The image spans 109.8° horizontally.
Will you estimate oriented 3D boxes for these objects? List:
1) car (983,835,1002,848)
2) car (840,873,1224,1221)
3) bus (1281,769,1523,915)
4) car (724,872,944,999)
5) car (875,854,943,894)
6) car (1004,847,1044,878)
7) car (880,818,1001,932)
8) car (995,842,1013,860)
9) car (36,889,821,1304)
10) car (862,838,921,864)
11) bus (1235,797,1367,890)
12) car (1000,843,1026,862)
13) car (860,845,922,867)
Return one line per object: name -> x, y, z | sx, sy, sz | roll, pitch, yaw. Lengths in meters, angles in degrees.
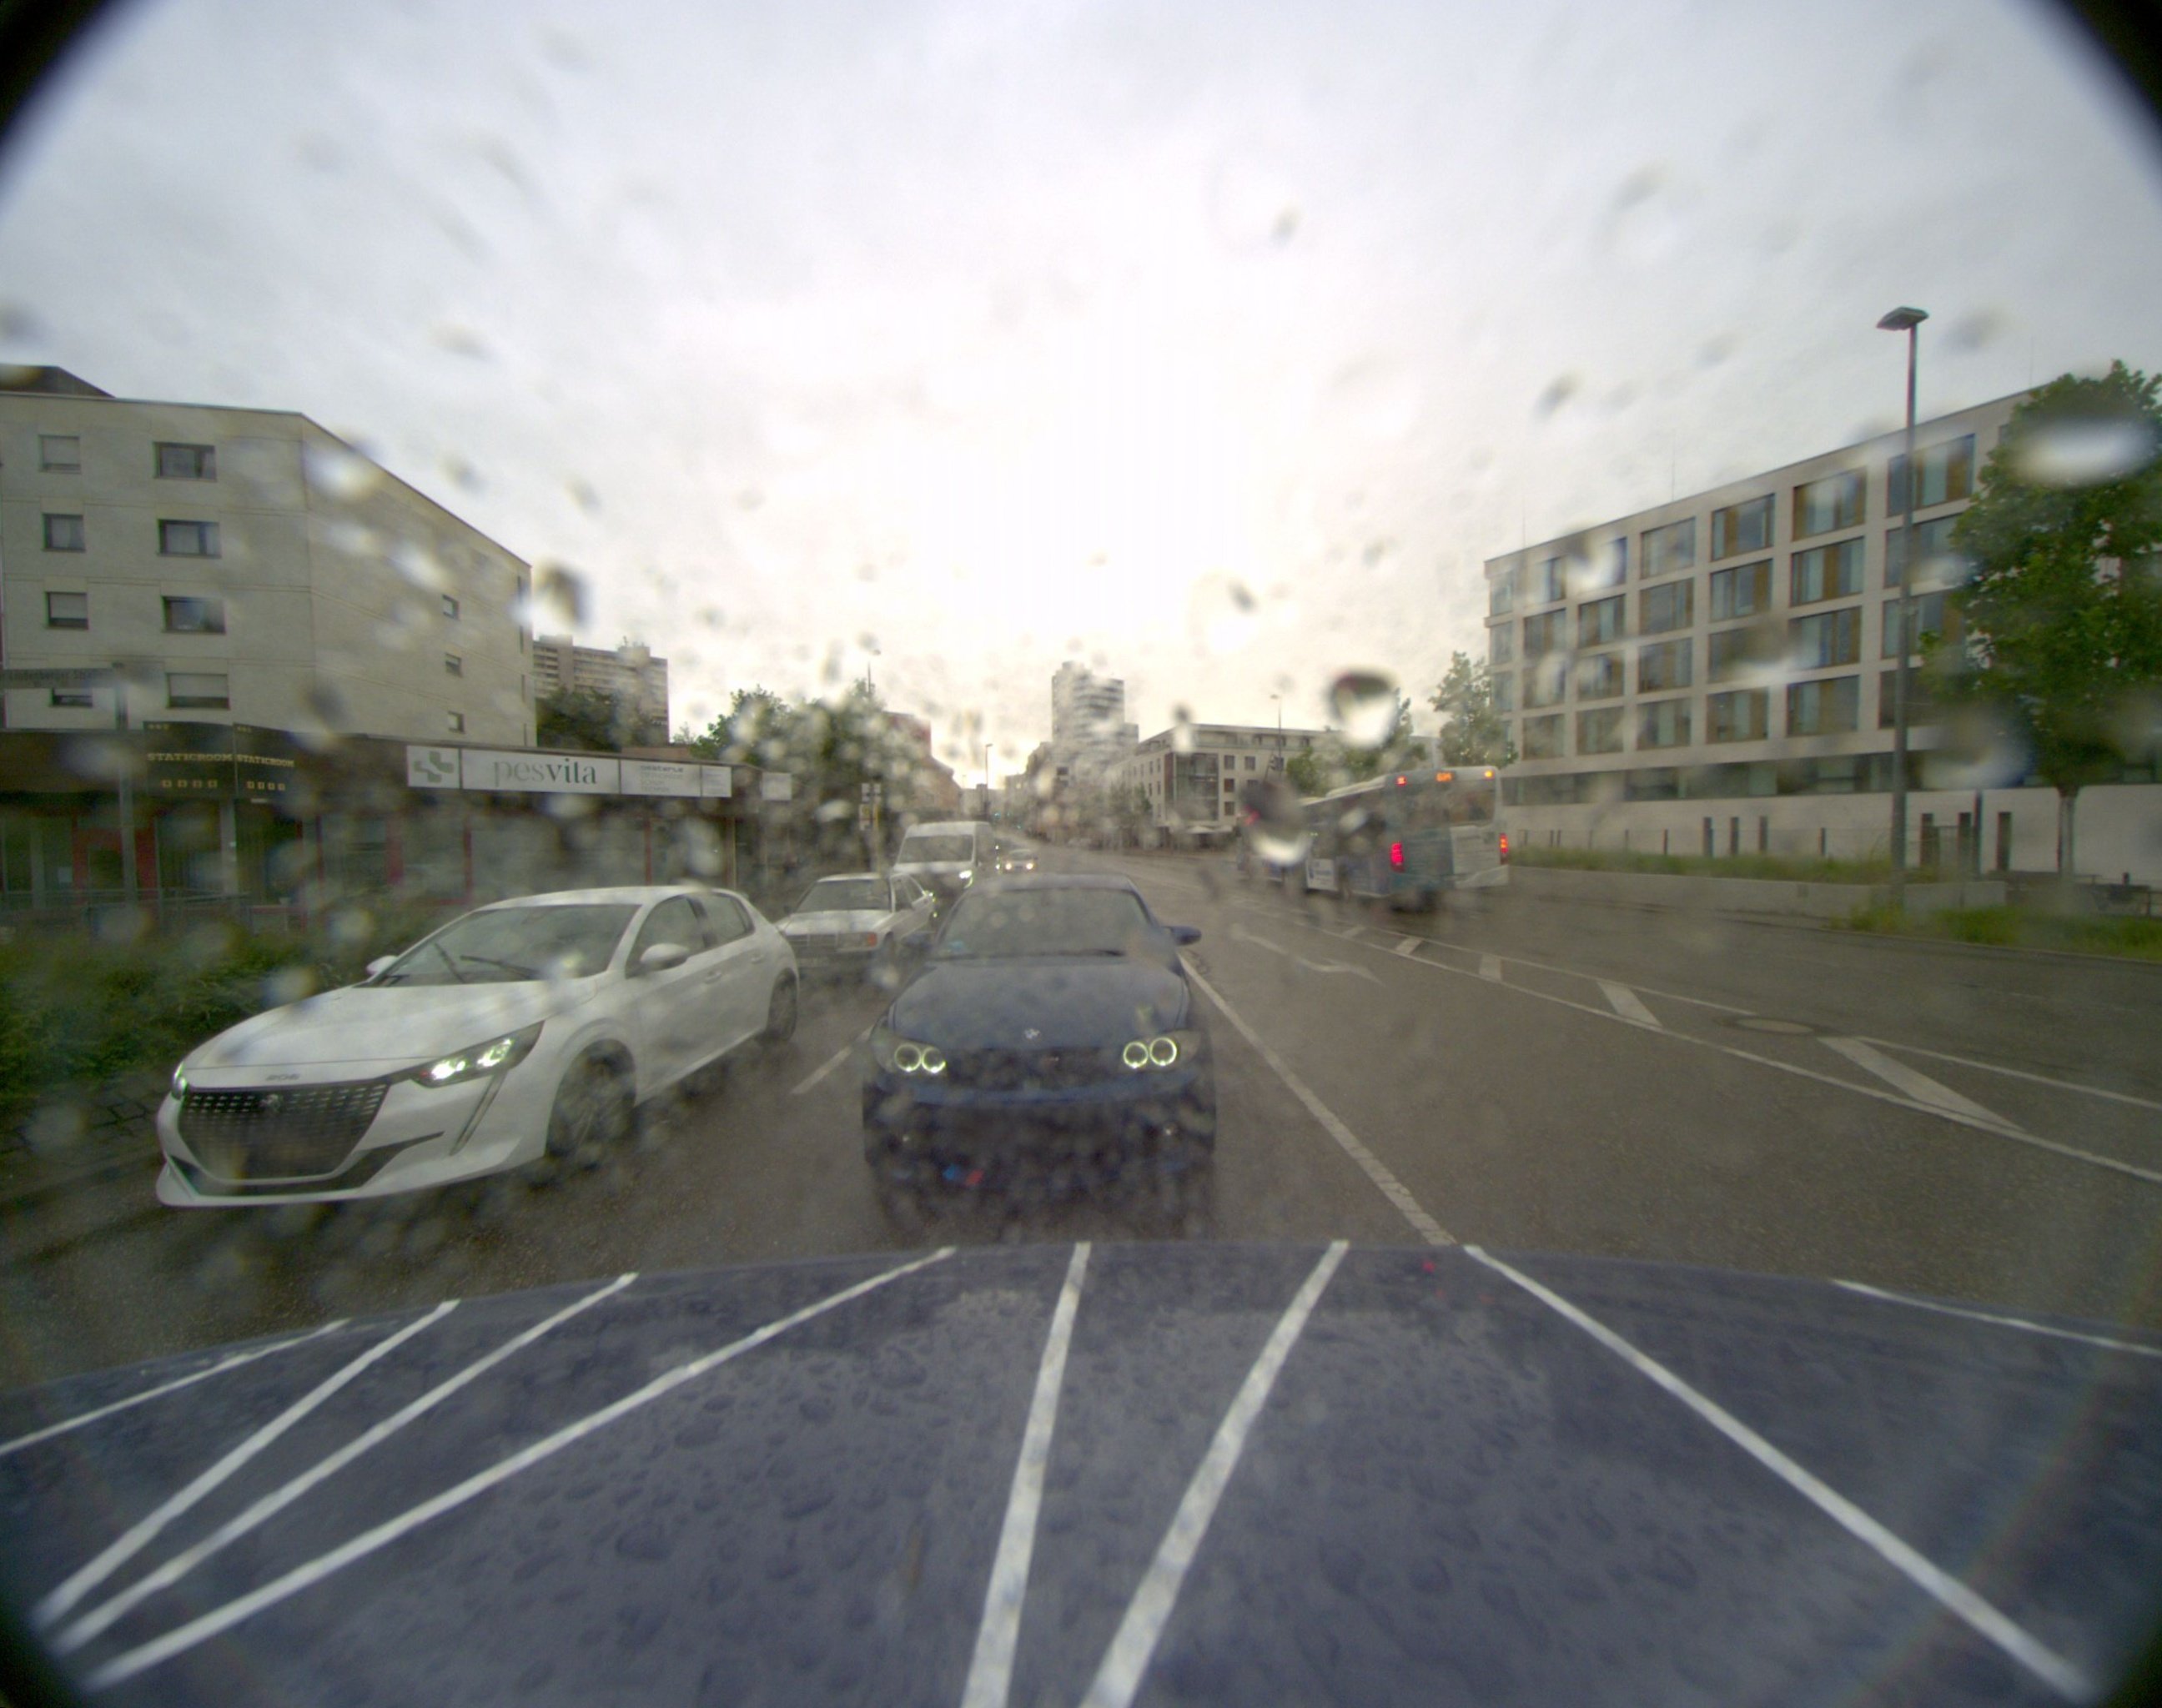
car -> -11.983, -1.650, 103.045 | 1.879, 1.745, 4.000 | 1, 0, 1
car -> -0.261, 0.924, 5.445 | 1.693, 1.380, 3.999 | -2, 1, -1
bus -> 8.075, -0.310, 20.894 | 2.783, 3.096, 9.367 | -1, 1, 1
car -> -3.365, 1.034, 11.281 | 1.788, 1.338, 4.162 | -2, 1, 1
car -> -7.031, 0.774, 31.479 | 1.788, 1.481, 4.000 | -2, 1, 1
car -> -3.076, 0.438, 41.670 | 1.803, 1.530, 3.999 | -2, 1, 1
car -> -3.493, 0.412, 20.235 | 2.197, 2.503, 6.120 | -1, 1, -2
car -> -8.833, -0.404, 87.124 | 2.000, 2.002, 3.997 | -1, 1, -6
car -> -3.338, 1.082, 5.130 | 1.666, 1.407, 4.114 | -2, 1, 1
car -> -13.752, -0.215, 55.419 | 4.000, 1.769, 1.882 | -1, 1, -10
bus -> 8.292, -0.418, 29.985 | 2.798, 3.096, 8.883 | 0, 1, 1
car -> -6.017, -0.186, 67.962 | 1.999, 1.559, 3.998 | -2, 1, -1
car -> -13.162, 0.117, 52.876 | 4.000, 1.419, 1.882 | -1, 1, -10
